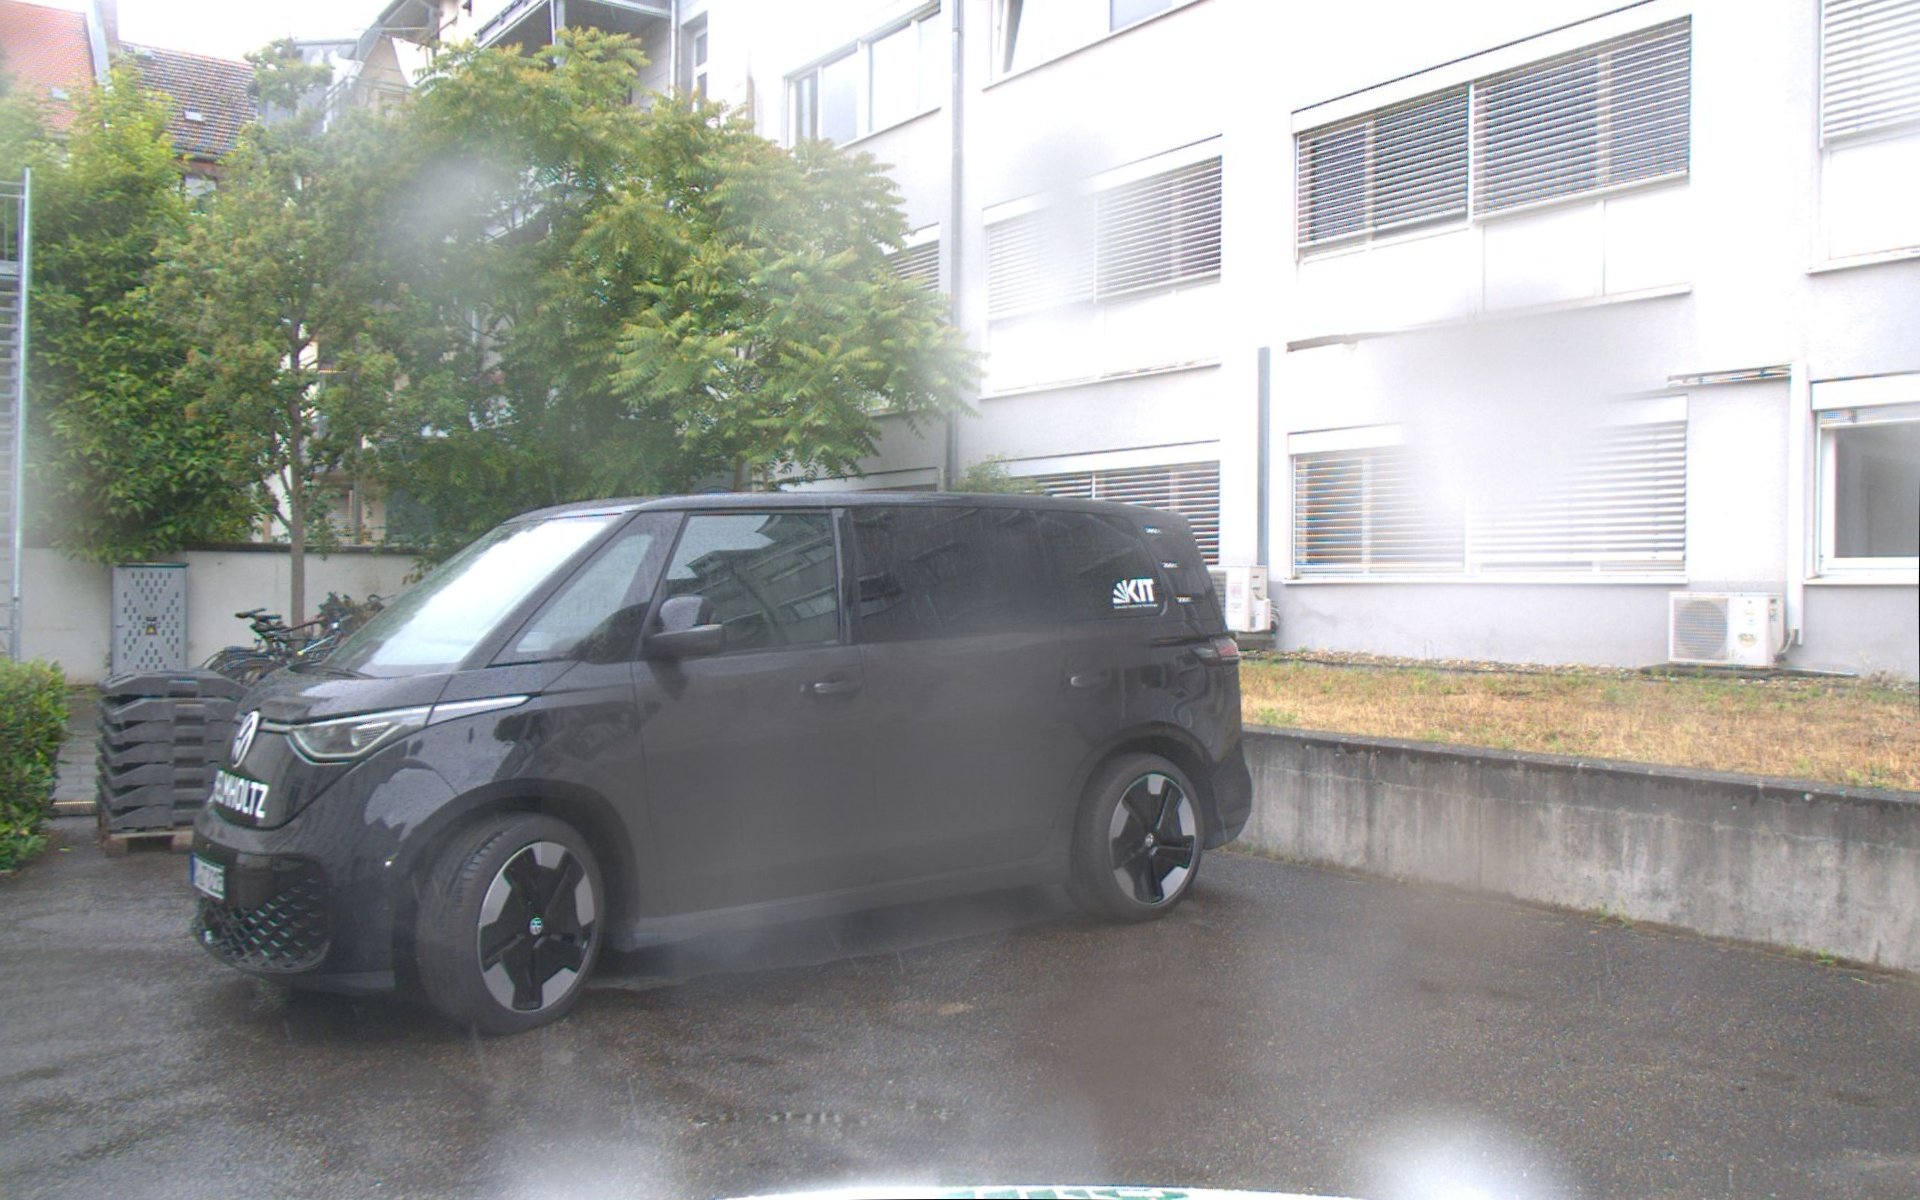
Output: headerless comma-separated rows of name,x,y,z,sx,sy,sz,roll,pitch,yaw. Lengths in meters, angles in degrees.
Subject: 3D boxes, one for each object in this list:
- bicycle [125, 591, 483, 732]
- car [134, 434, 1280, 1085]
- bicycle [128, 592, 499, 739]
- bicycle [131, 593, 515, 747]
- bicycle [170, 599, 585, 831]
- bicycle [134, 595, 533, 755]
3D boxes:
bicycle,-6.309,0.553,16.070,3.183,1.263,0.624,0,0,-33
car,-0.889,0.461,7.097,4.475,1.930,2.019,-1,0,-38
bicycle,-5.994,0.567,15.505,3.183,1.263,0.624,0,0,-33
bicycle,-5.675,0.582,14.920,3.183,1.263,0.624,0,0,-33
bicycle,-4.729,0.872,13.642,3.183,1.732,0.624,0,0,-33
bicycle,-5.349,0.597,14.307,3.183,1.263,0.624,0,0,-33
